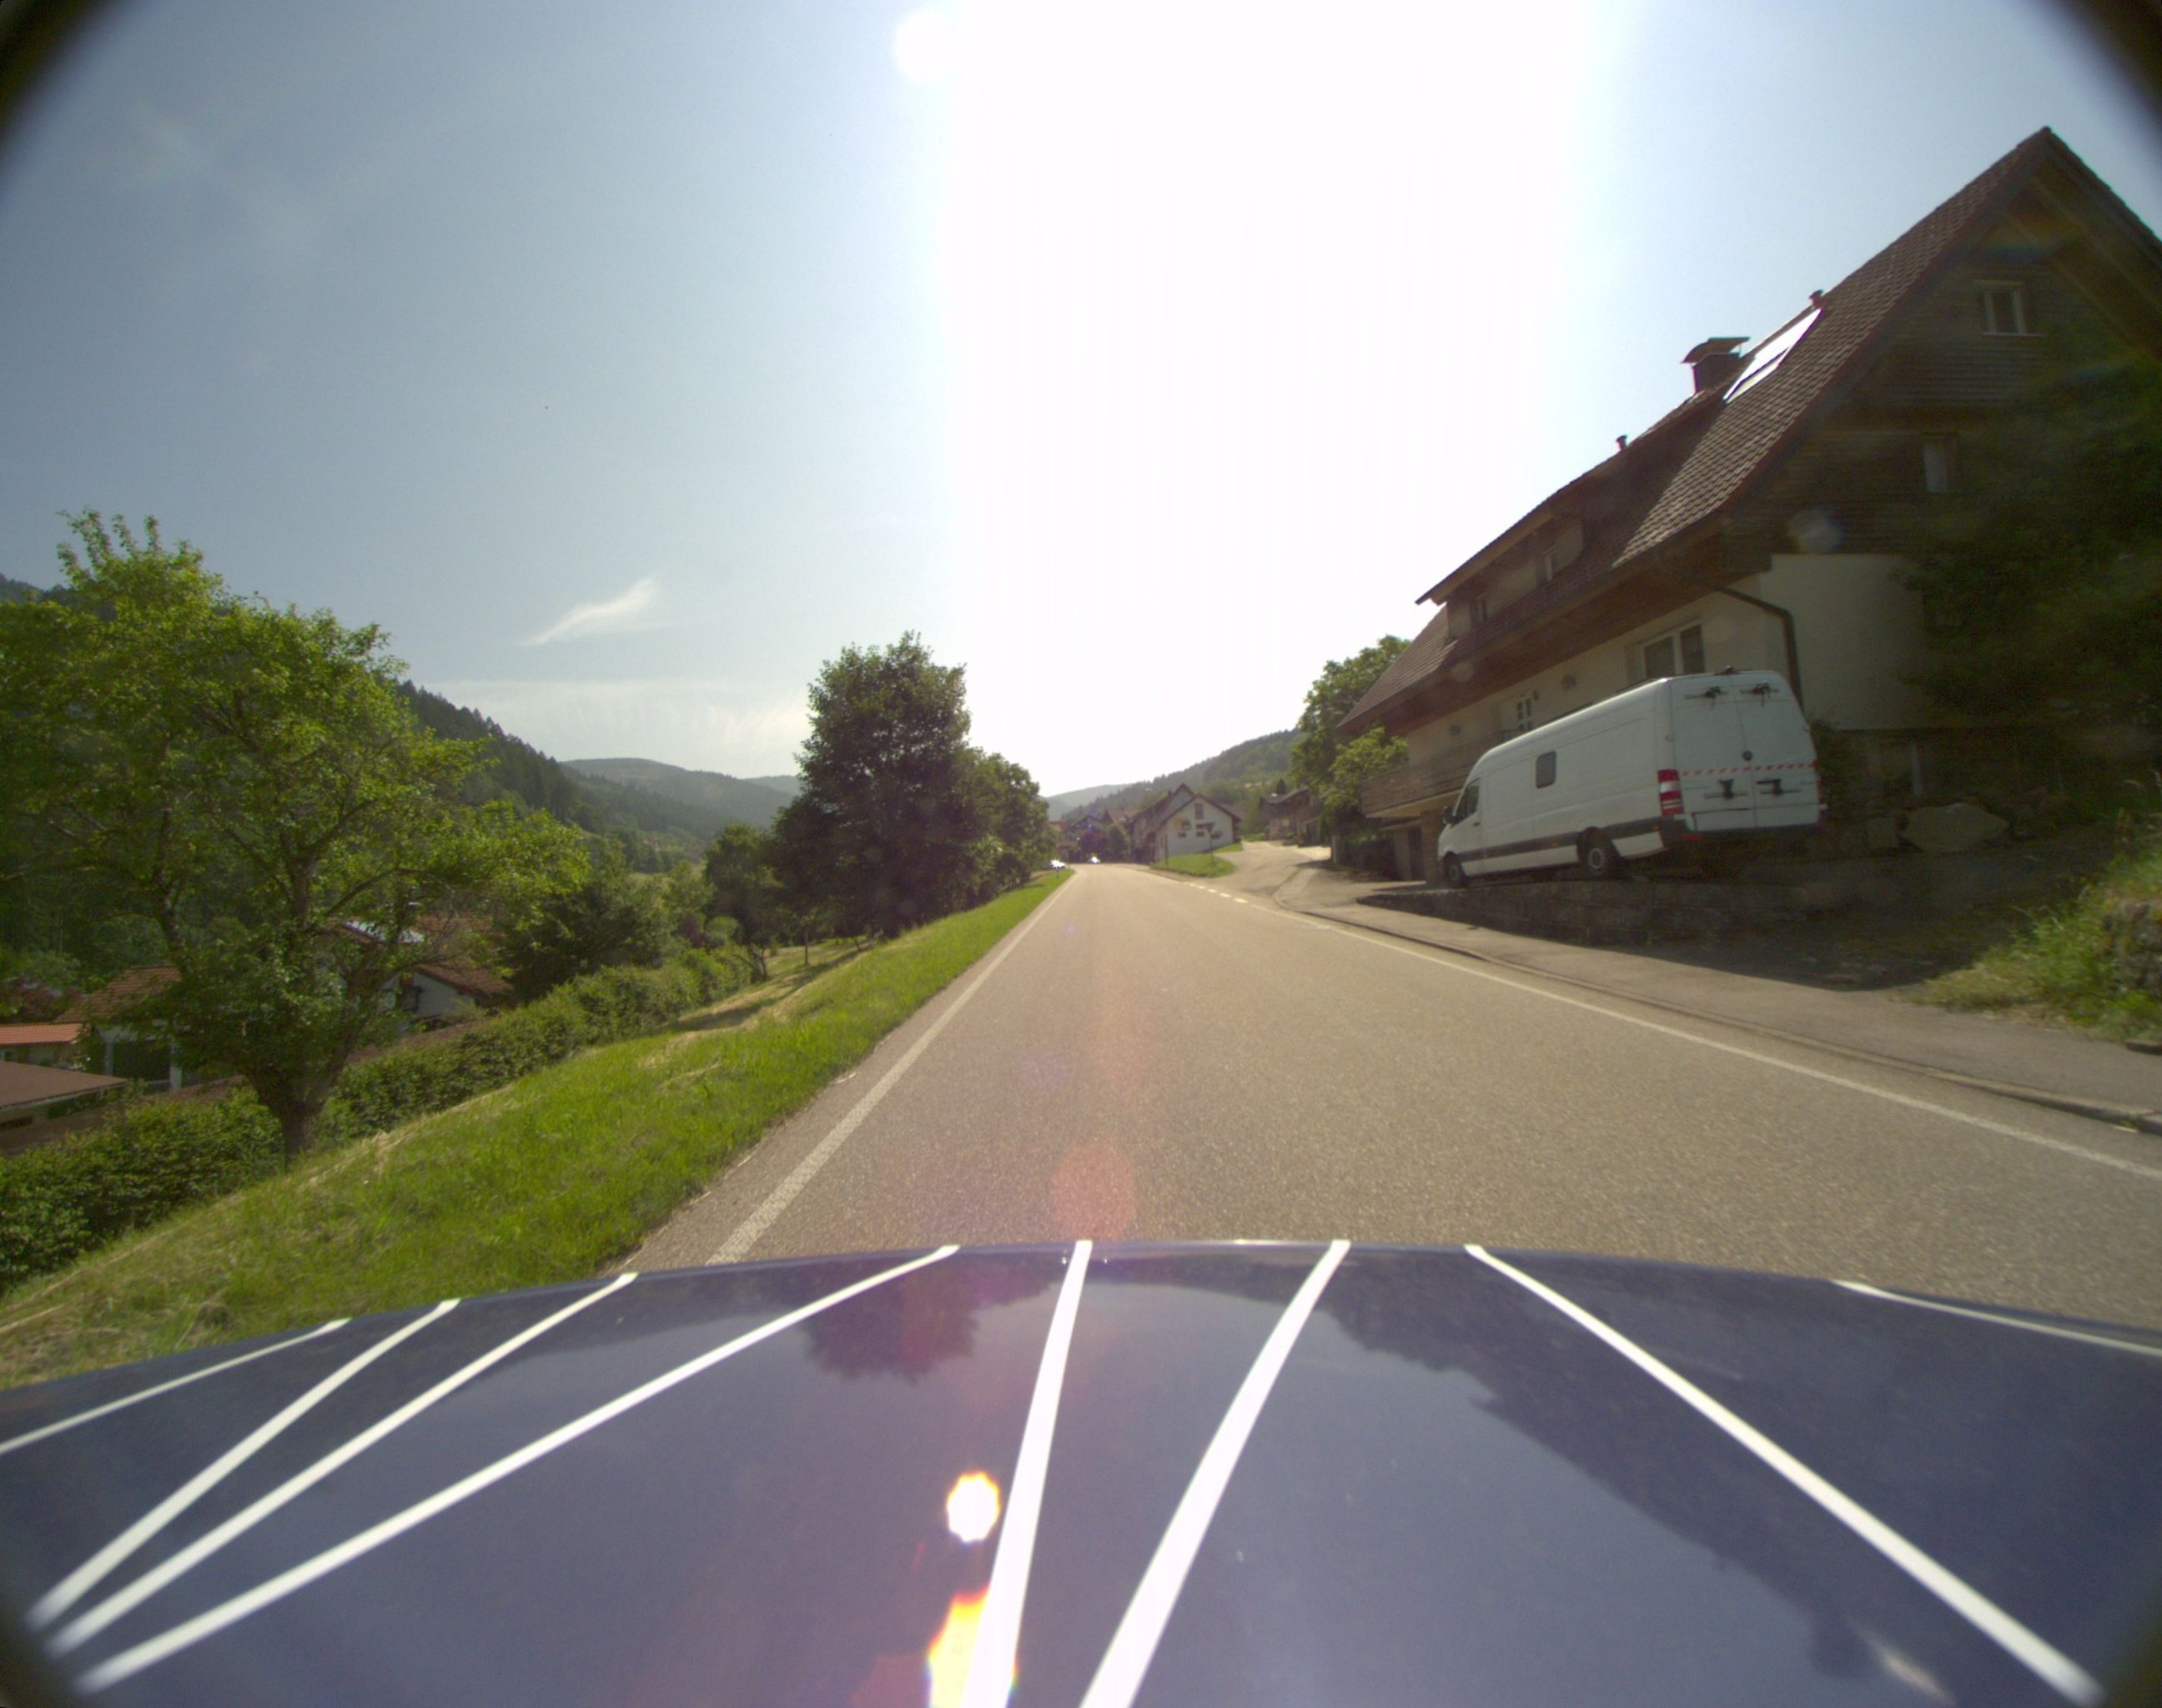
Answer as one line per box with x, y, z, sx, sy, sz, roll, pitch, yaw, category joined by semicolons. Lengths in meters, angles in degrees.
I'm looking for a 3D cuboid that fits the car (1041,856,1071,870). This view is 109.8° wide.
-3.733;1.377;113.751;1.908;1.562;4.451;-7;1;-44;car

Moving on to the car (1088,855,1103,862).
3.131;0.942;162.649;1.789;1.331;4.689;-2;0;-17;car

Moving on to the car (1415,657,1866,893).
8.313;-0.786;12.761;2.072;2.671;7.178;-5;-3;0;car
